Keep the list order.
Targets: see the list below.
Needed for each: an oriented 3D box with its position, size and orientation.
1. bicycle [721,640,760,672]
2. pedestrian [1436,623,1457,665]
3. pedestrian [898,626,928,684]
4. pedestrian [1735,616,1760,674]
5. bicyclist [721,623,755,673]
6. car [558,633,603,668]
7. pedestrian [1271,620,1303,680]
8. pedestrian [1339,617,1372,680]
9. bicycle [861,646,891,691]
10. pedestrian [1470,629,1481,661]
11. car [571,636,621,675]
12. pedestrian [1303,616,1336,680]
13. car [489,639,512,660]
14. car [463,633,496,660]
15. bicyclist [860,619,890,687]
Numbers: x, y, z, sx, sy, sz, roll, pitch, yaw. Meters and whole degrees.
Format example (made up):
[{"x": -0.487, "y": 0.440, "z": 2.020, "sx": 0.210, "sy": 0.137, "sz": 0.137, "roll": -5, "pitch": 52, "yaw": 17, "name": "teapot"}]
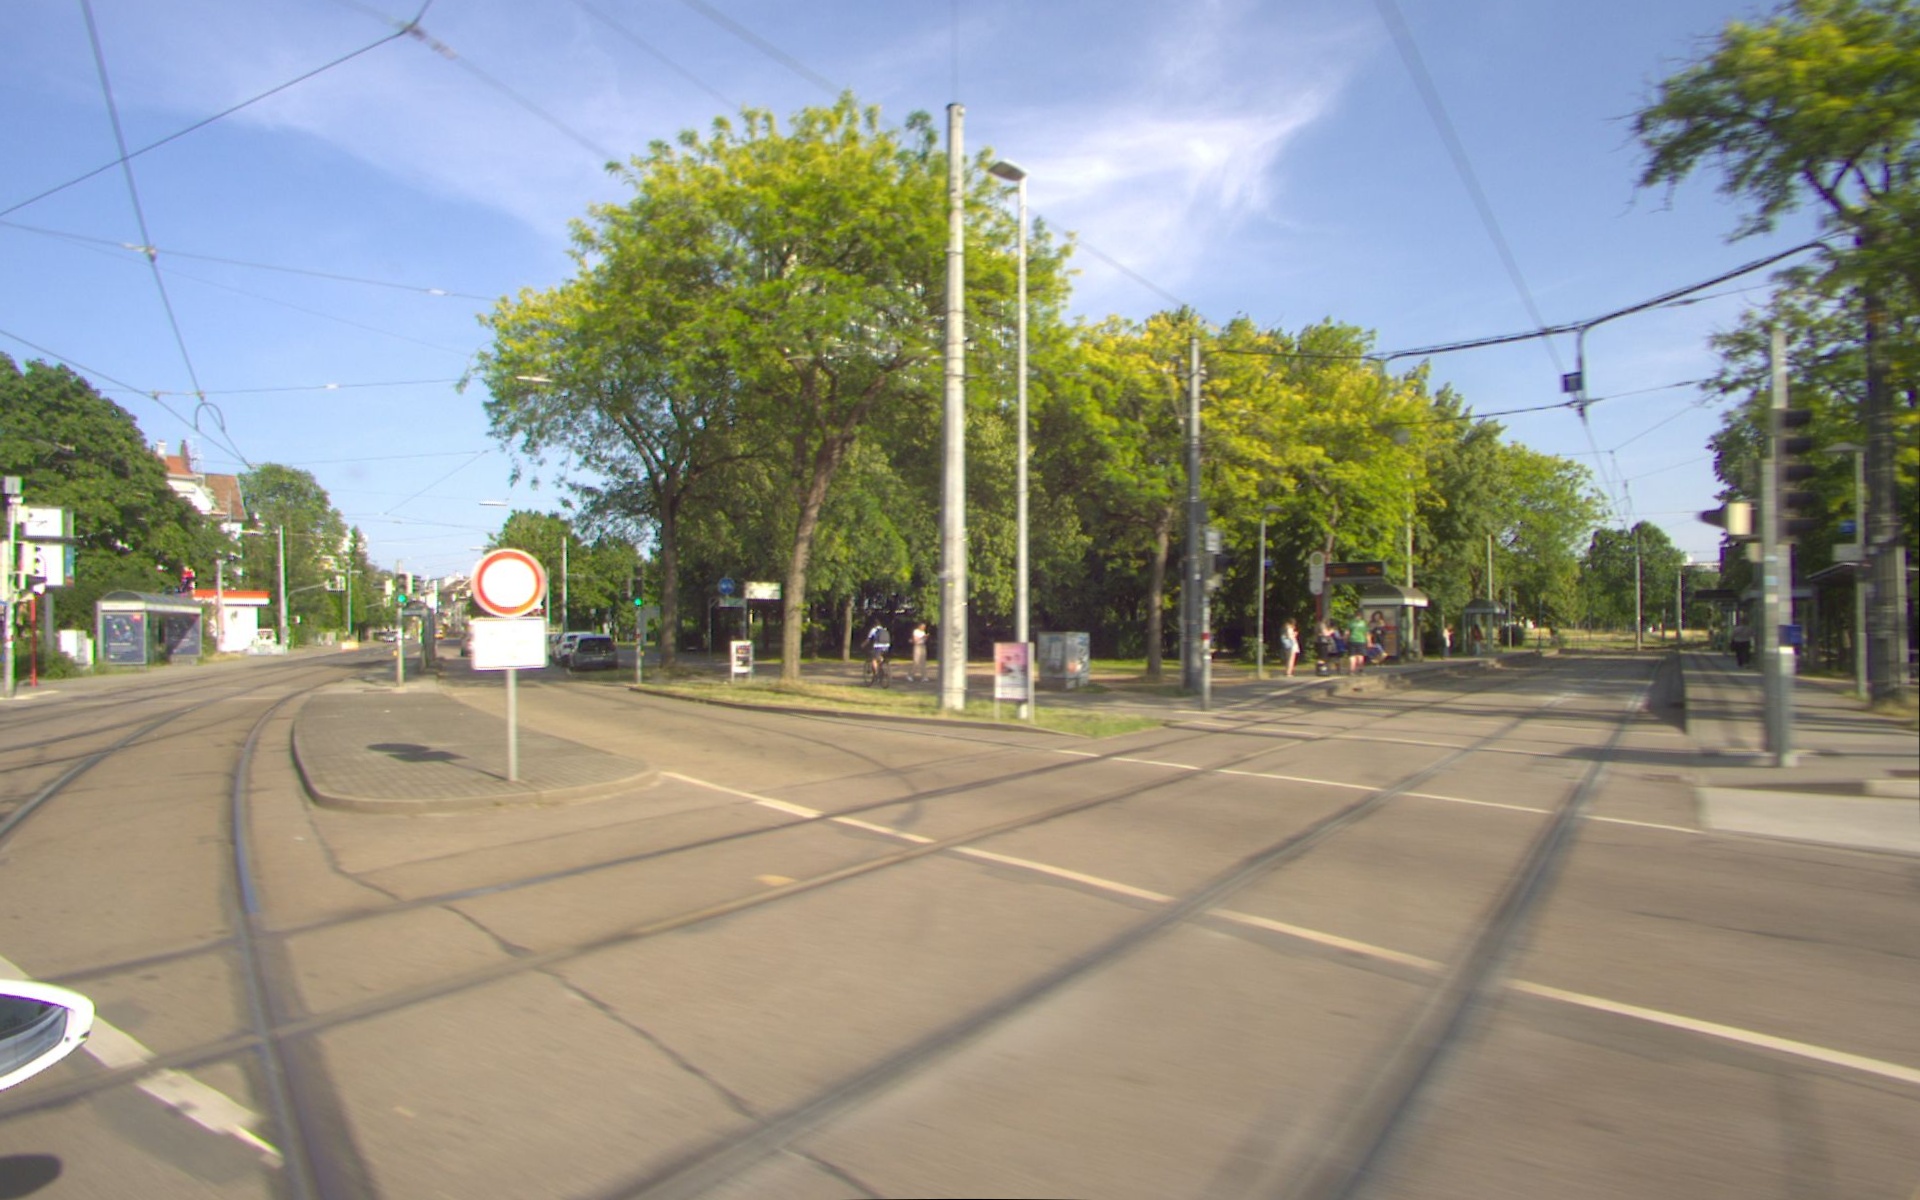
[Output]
[{"x": -8.010, "y": 2.029, "z": 36.524, "sx": 0.636, "sy": 1.102, "sz": 1.718, "roll": -2, "pitch": 0, "yaw": -42, "name": "bicycle"}, {"x": 21.495, "y": 1.933, "z": 44.271, "sx": 0.666, "sy": 1.822, "sz": 0.606, "roll": 4, "pitch": -4, "yaw": -39, "name": "pedestrian"}, {"x": -1.384, "y": 1.615, "z": 29.436, "sx": 0.635, "sy": 1.686, "sz": 0.686, "roll": 1, "pitch": -2, "yaw": -37, "name": "pedestrian"}, {"x": 26.059, "y": 1.487, "z": 33.147, "sx": 0.599, "sy": 1.890, "sz": 0.458, "roll": -2, "pitch": -4, "yaw": 40, "name": "pedestrian"}, {"x": -8.119, "y": 1.737, "z": 36.616, "sx": 0.714, "sy": 1.769, "sz": 1.130, "roll": -3, "pitch": 1, "yaw": -41, "name": "bicyclist"}, {"x": -18.342, "y": 2.399, "z": 48.278, "sx": 1.829, "sy": 1.535, "sz": 3.988, "roll": -1, "pitch": -1, "yaw": -24, "name": "car"}, {"x": 9.030, "y": 1.364, "z": 27.630, "sx": 0.682, "sy": 1.631, "sz": 0.639, "roll": -1, "pitch": -2, "yaw": 37, "name": "pedestrian"}, {"x": 10.693, "y": 1.304, "z": 27.102, "sx": 0.682, "sy": 1.686, "sz": 0.639, "roll": -1, "pitch": -2, "yaw": 37, "name": "pedestrian"}, {"x": -2.306, "y": 1.847, "z": 27.280, "sx": 0.630, "sy": 1.102, "sz": 1.939, "roll": -2, "pitch": 0, "yaw": -10, "name": "bicycle"}, {"x": 26.711, "y": 2.327, "z": 51.895, "sx": 0.478, "sy": 1.686, "sz": 0.412, "roll": -1, "pitch": -1, "yaw": 36, "name": "pedestrian"}, {"x": -15.757, "y": 2.361, "z": 43.236, "sx": 1.829, "sy": 1.535, "sz": 3.989, "roll": -1, "pitch": -1, "yaw": -23, "name": "car"}, {"x": 9.783, "y": 1.300, "z": 27.222, "sx": 0.682, "sy": 1.686, "sz": 0.639, "roll": -1, "pitch": -2, "yaw": 37, "name": "pedestrian"}, {"x": -45.447, "y": 4.916, "z": 98.987, "sx": 1.970, "sy": 2.037, "sz": 3.987, "roll": 3, "pitch": -5, "yaw": -26, "name": "car"}, {"x": -30.821, "y": 2.998, "z": 64.280, "sx": 1.813, "sy": 1.619, "sz": 3.802, "roll": 2, "pitch": -4, "yaw": -26, "name": "car"}, {"x": -2.304, "y": 1.407, "z": 27.121, "sx": 0.639, "sy": 1.769, "sz": 1.139, "roll": -2, "pitch": 1, "yaw": -11, "name": "bicyclist"}]
